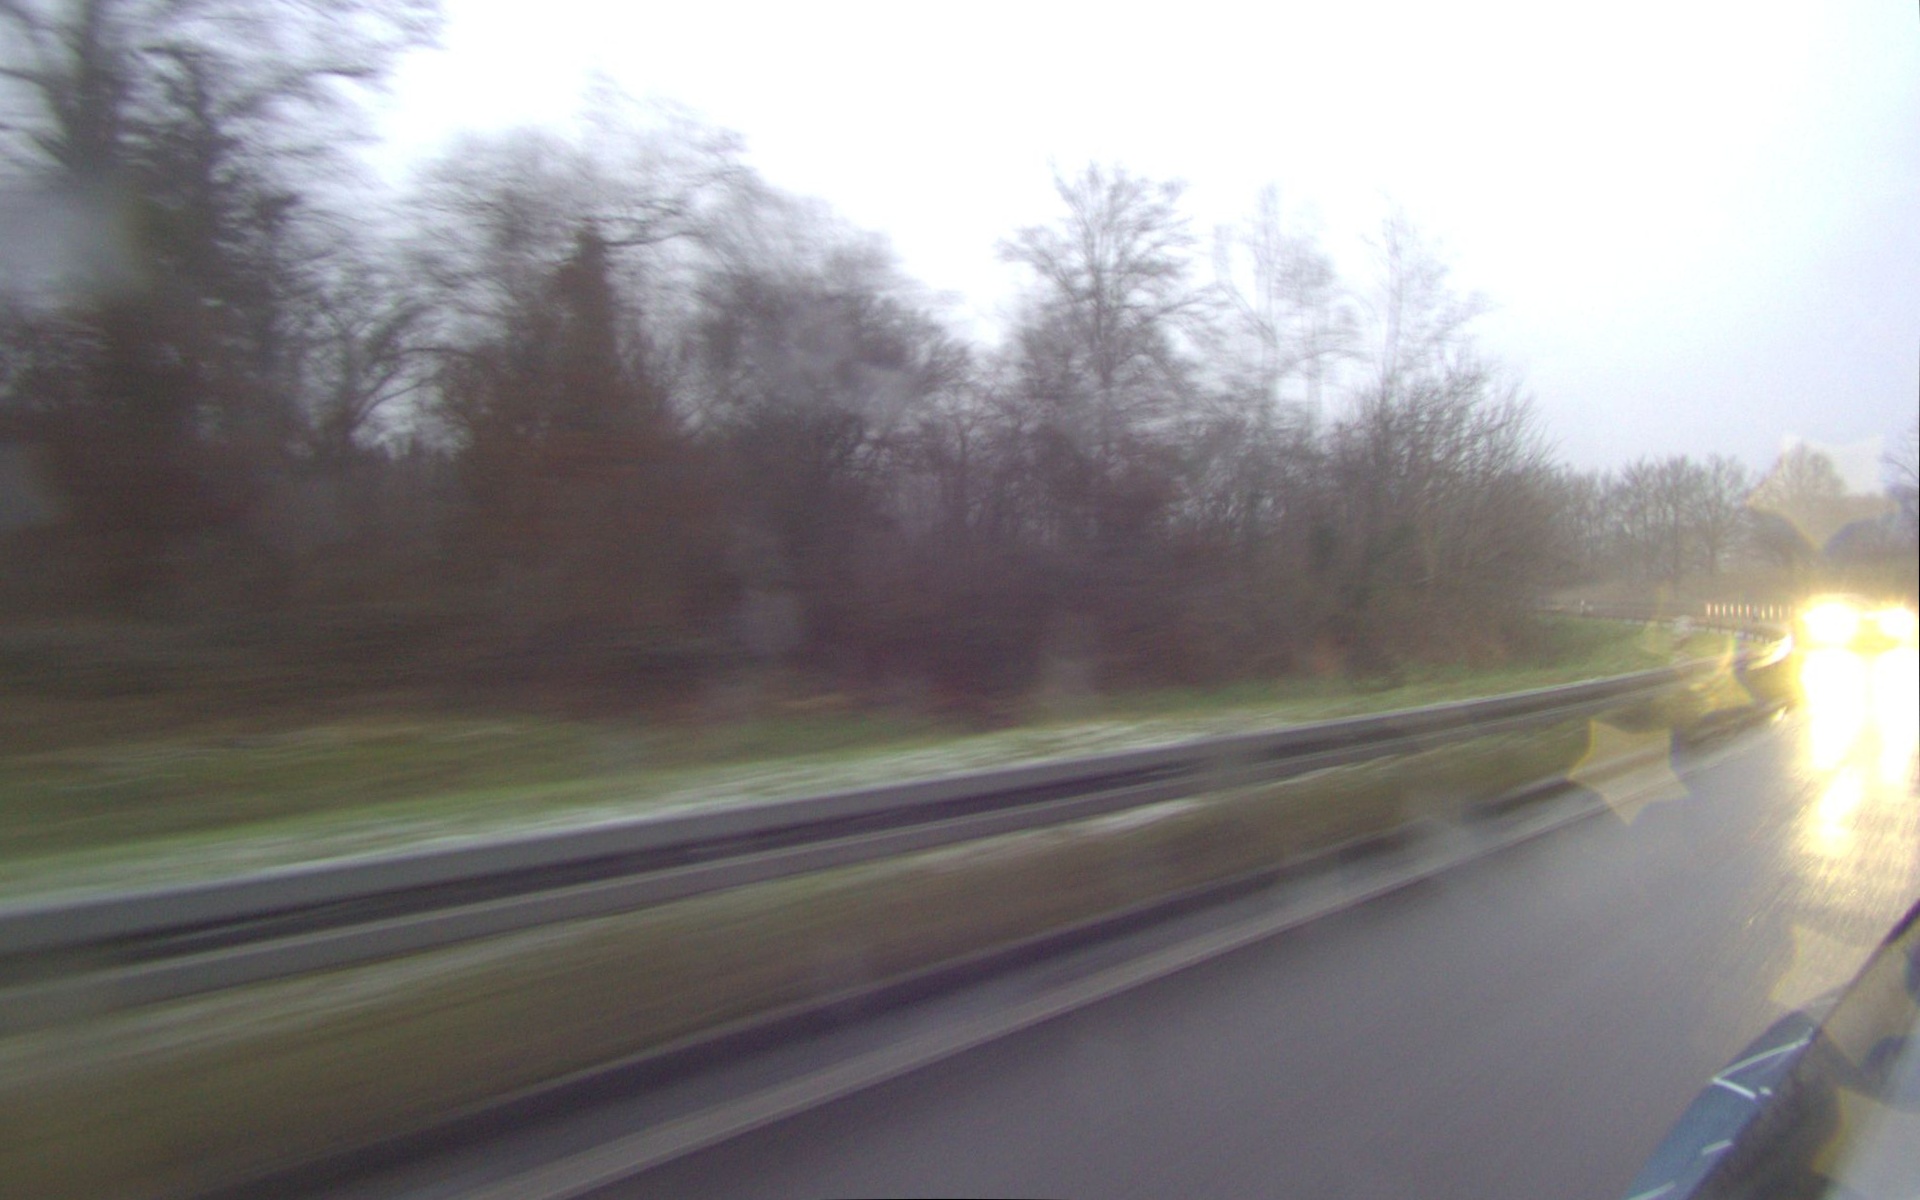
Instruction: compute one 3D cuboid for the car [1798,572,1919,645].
[{"bbox_3d":[27.976,0.271,31.633,1.983,2.039,3.921,3,0,30],"label":"car"}]
